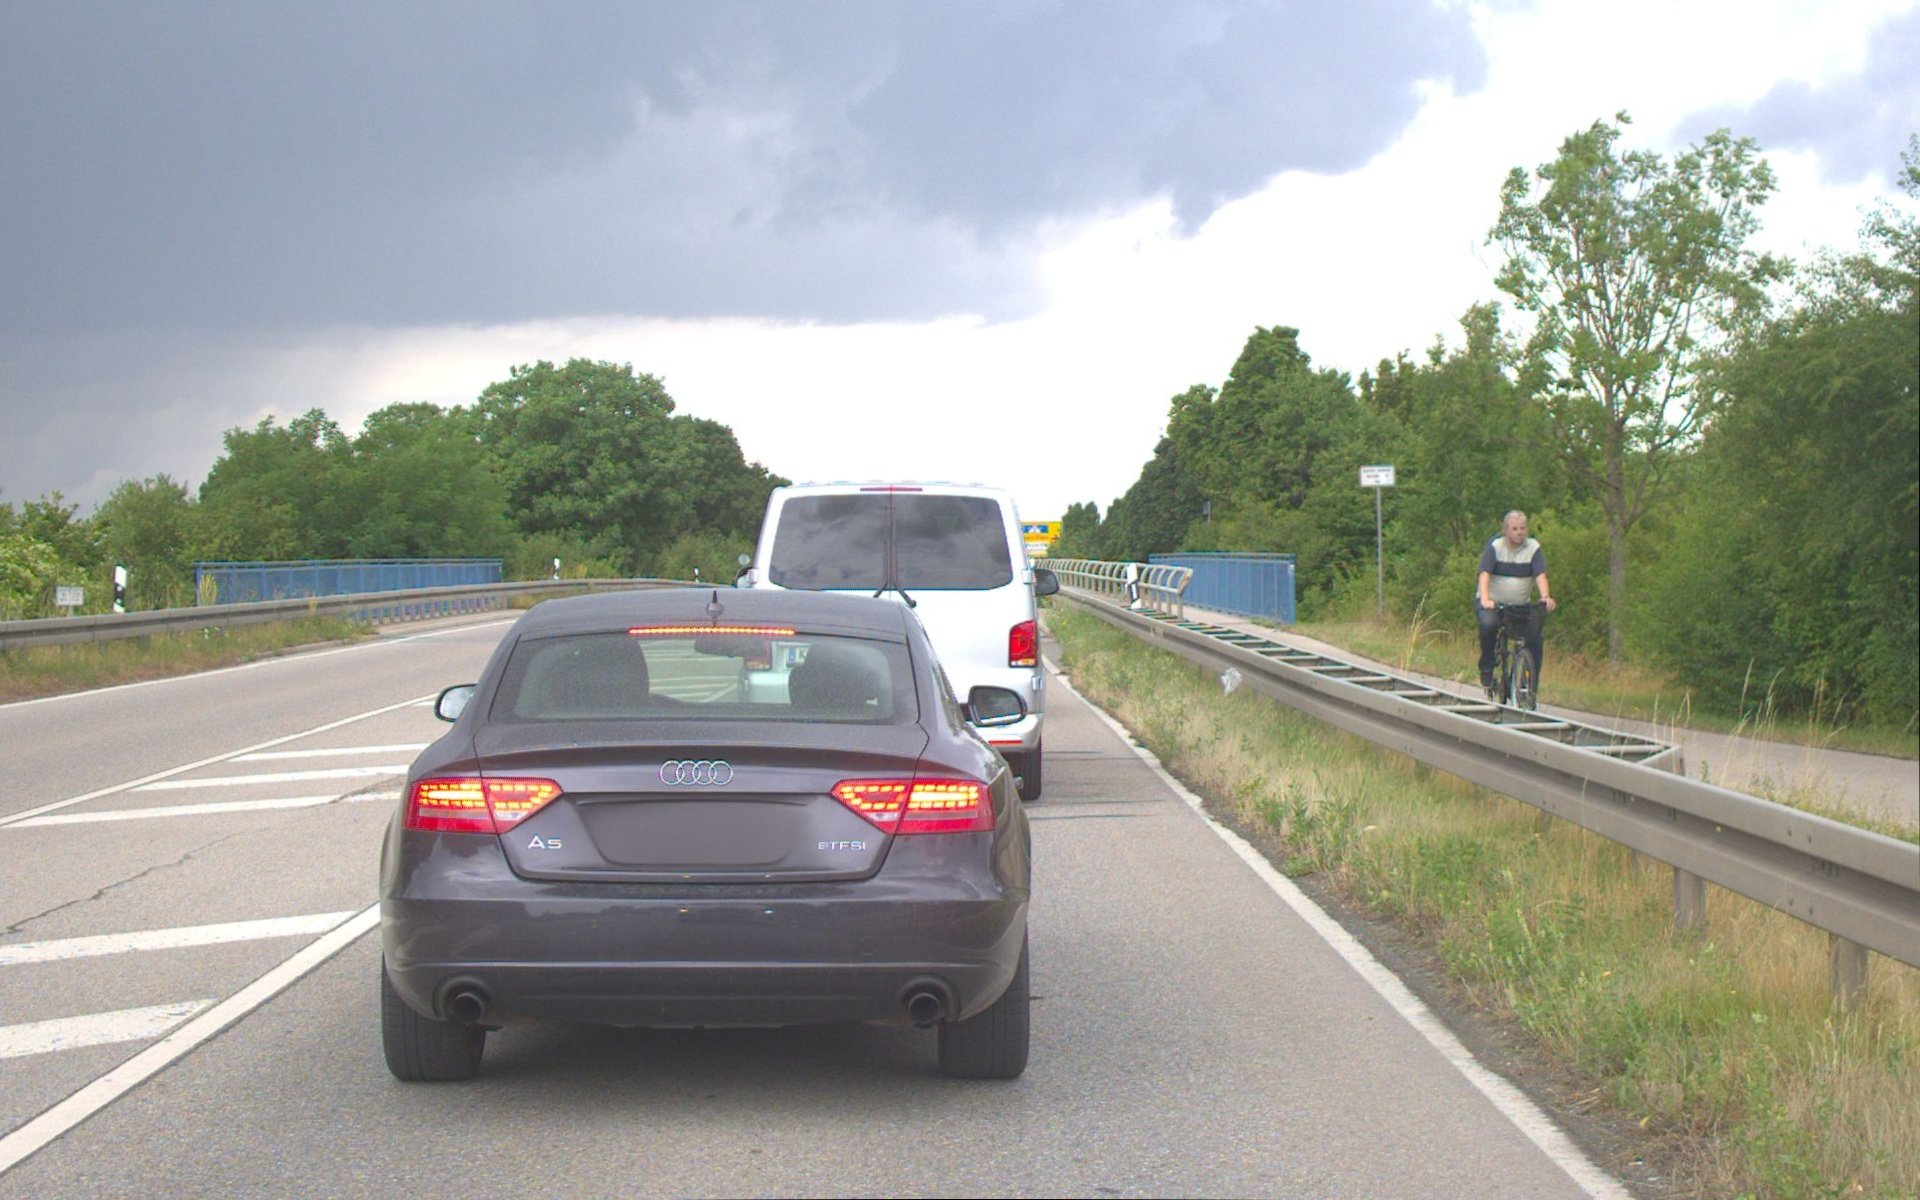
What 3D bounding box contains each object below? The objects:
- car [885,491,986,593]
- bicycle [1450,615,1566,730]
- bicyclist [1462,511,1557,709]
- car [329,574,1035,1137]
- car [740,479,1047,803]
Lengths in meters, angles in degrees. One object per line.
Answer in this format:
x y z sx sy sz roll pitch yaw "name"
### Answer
-0.603 -1.475 87.433 2.447 2.495 5.041 1 1 0 "car"
4.640 0.600 29.213 0.666 0.917 1.830 -1 1 -1 "bicycle"
4.643 0.077 29.084 0.647 1.639 0.866 -1 0 0 "bicyclist"
-0.727 0.641 10.773 1.785 1.419 4.000 1 0 -1 "car"
-0.409 0.227 22.196 1.785 1.883 4.000 1 0 -1 "car"
